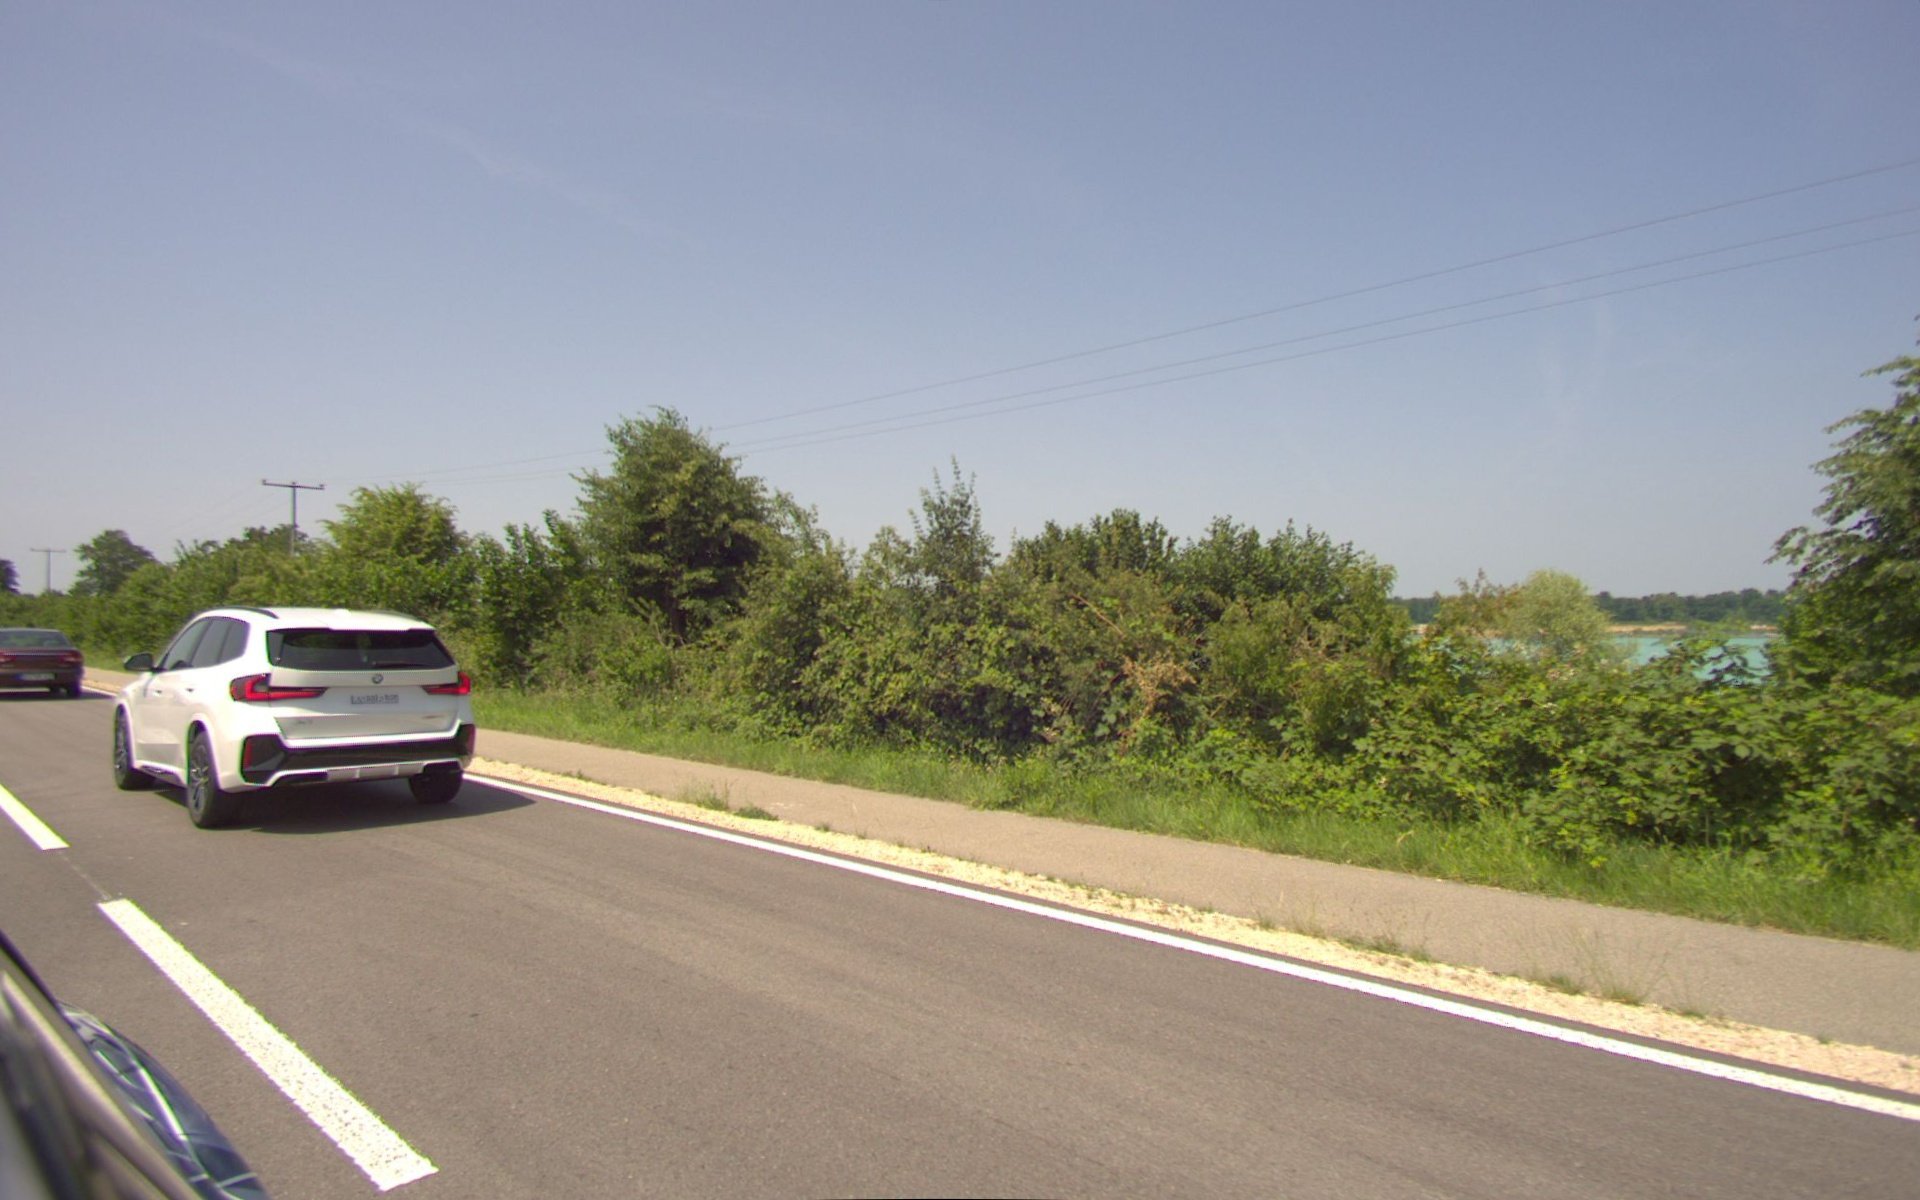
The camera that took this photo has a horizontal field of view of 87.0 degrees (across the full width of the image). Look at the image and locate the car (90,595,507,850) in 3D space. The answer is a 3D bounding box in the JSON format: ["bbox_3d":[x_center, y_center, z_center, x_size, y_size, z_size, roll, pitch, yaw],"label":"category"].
[{"bbox_3d":[-5.766,0.853,8.583,4.478,1.618,1.740,-1,-3,41],"label":"car"}]

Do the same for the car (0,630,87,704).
[{"bbox_3d":[-19.693,1.347,21.102,4.044,1.417,1.676,-1,-3,41],"label":"car"}]
